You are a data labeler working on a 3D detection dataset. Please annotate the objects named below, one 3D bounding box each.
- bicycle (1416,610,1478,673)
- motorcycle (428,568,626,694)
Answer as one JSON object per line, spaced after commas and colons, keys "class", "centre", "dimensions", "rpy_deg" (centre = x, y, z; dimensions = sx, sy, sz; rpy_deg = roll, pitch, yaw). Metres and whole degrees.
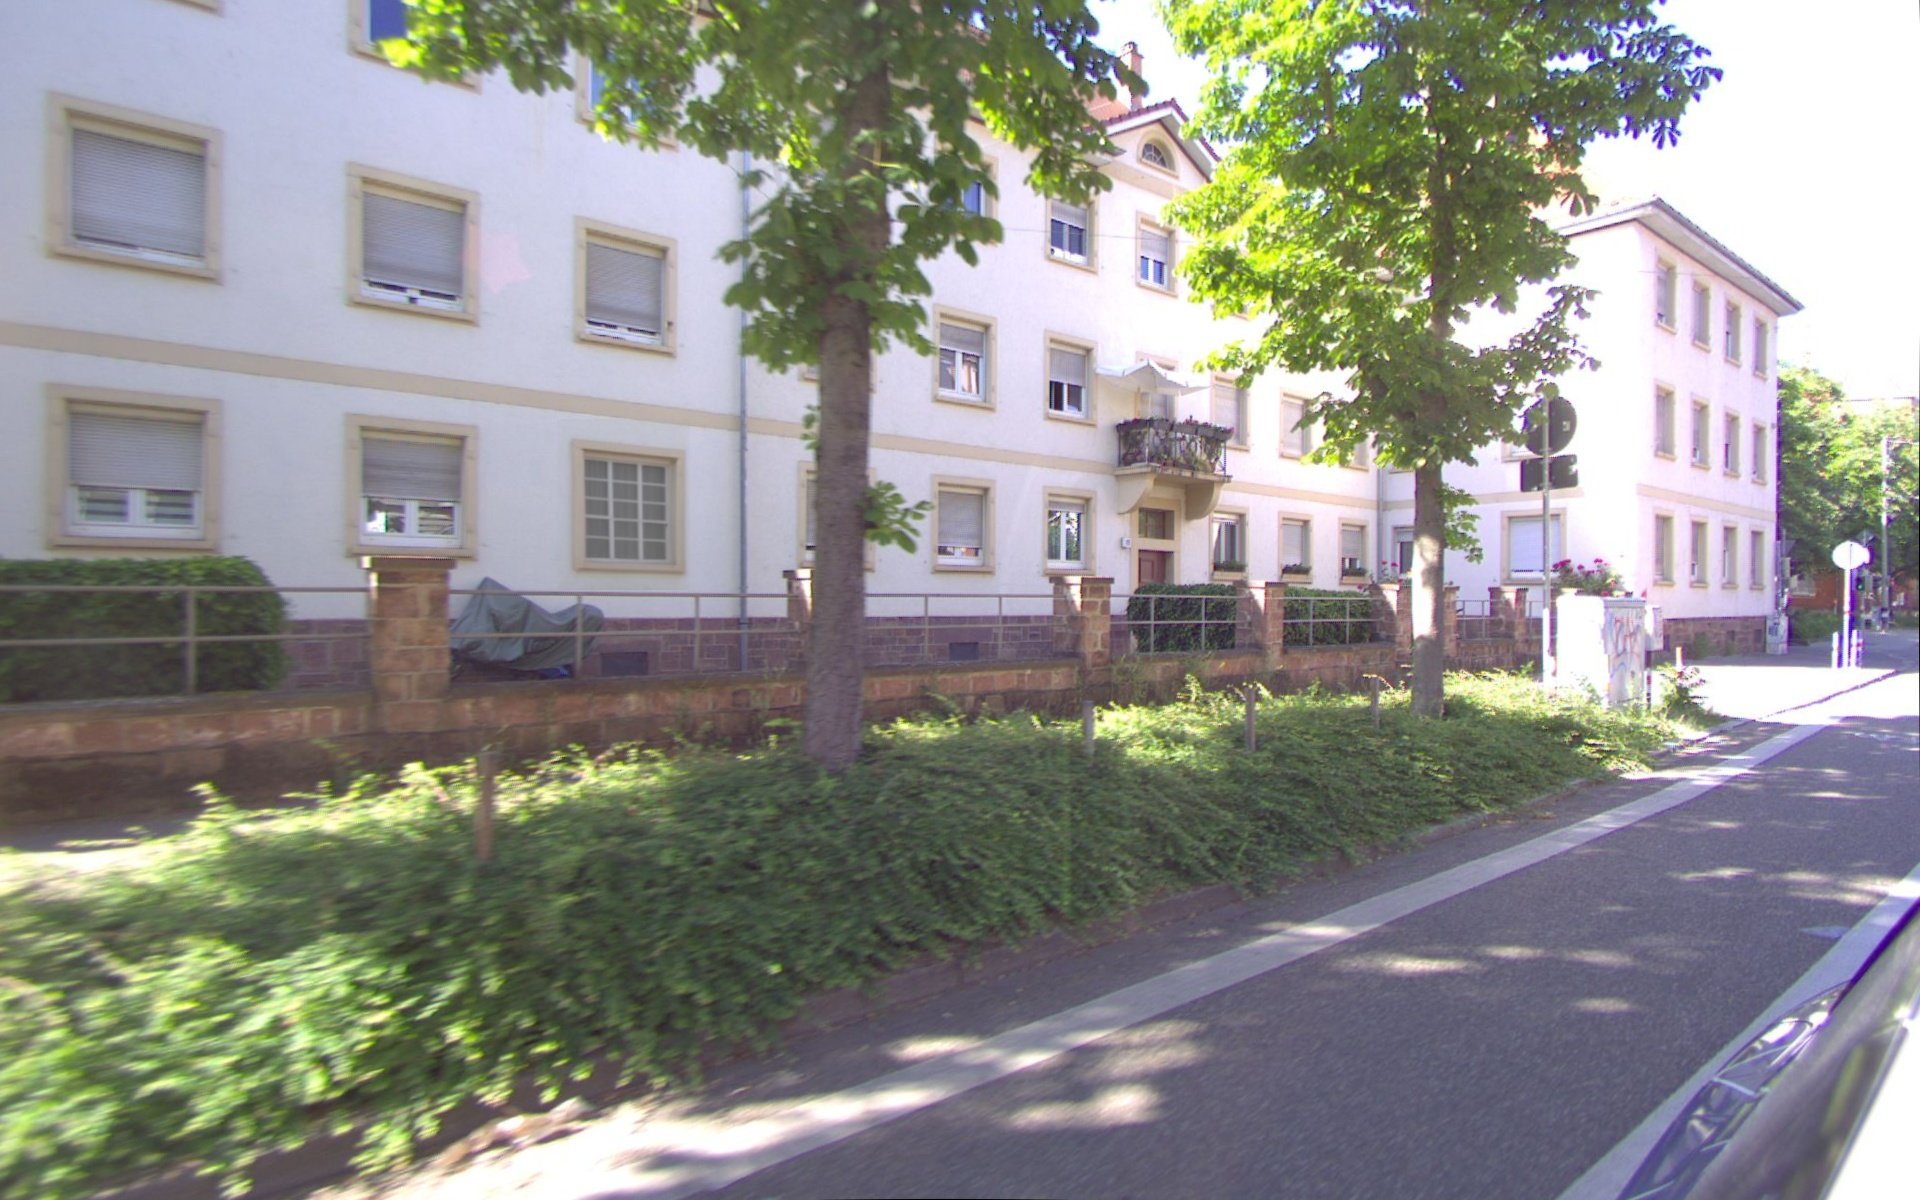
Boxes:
{"class": "bicycle", "centre": [8.965, 0.740, 18.614], "dimensions": [1.645, 1.107, 0.459], "rpy_deg": [0, -2, -44]}
{"class": "motorcycle", "centre": [-5.547, 0.376, 13.062], "dimensions": [2.218, 1.506, 0.808], "rpy_deg": [0, -2, -40]}
